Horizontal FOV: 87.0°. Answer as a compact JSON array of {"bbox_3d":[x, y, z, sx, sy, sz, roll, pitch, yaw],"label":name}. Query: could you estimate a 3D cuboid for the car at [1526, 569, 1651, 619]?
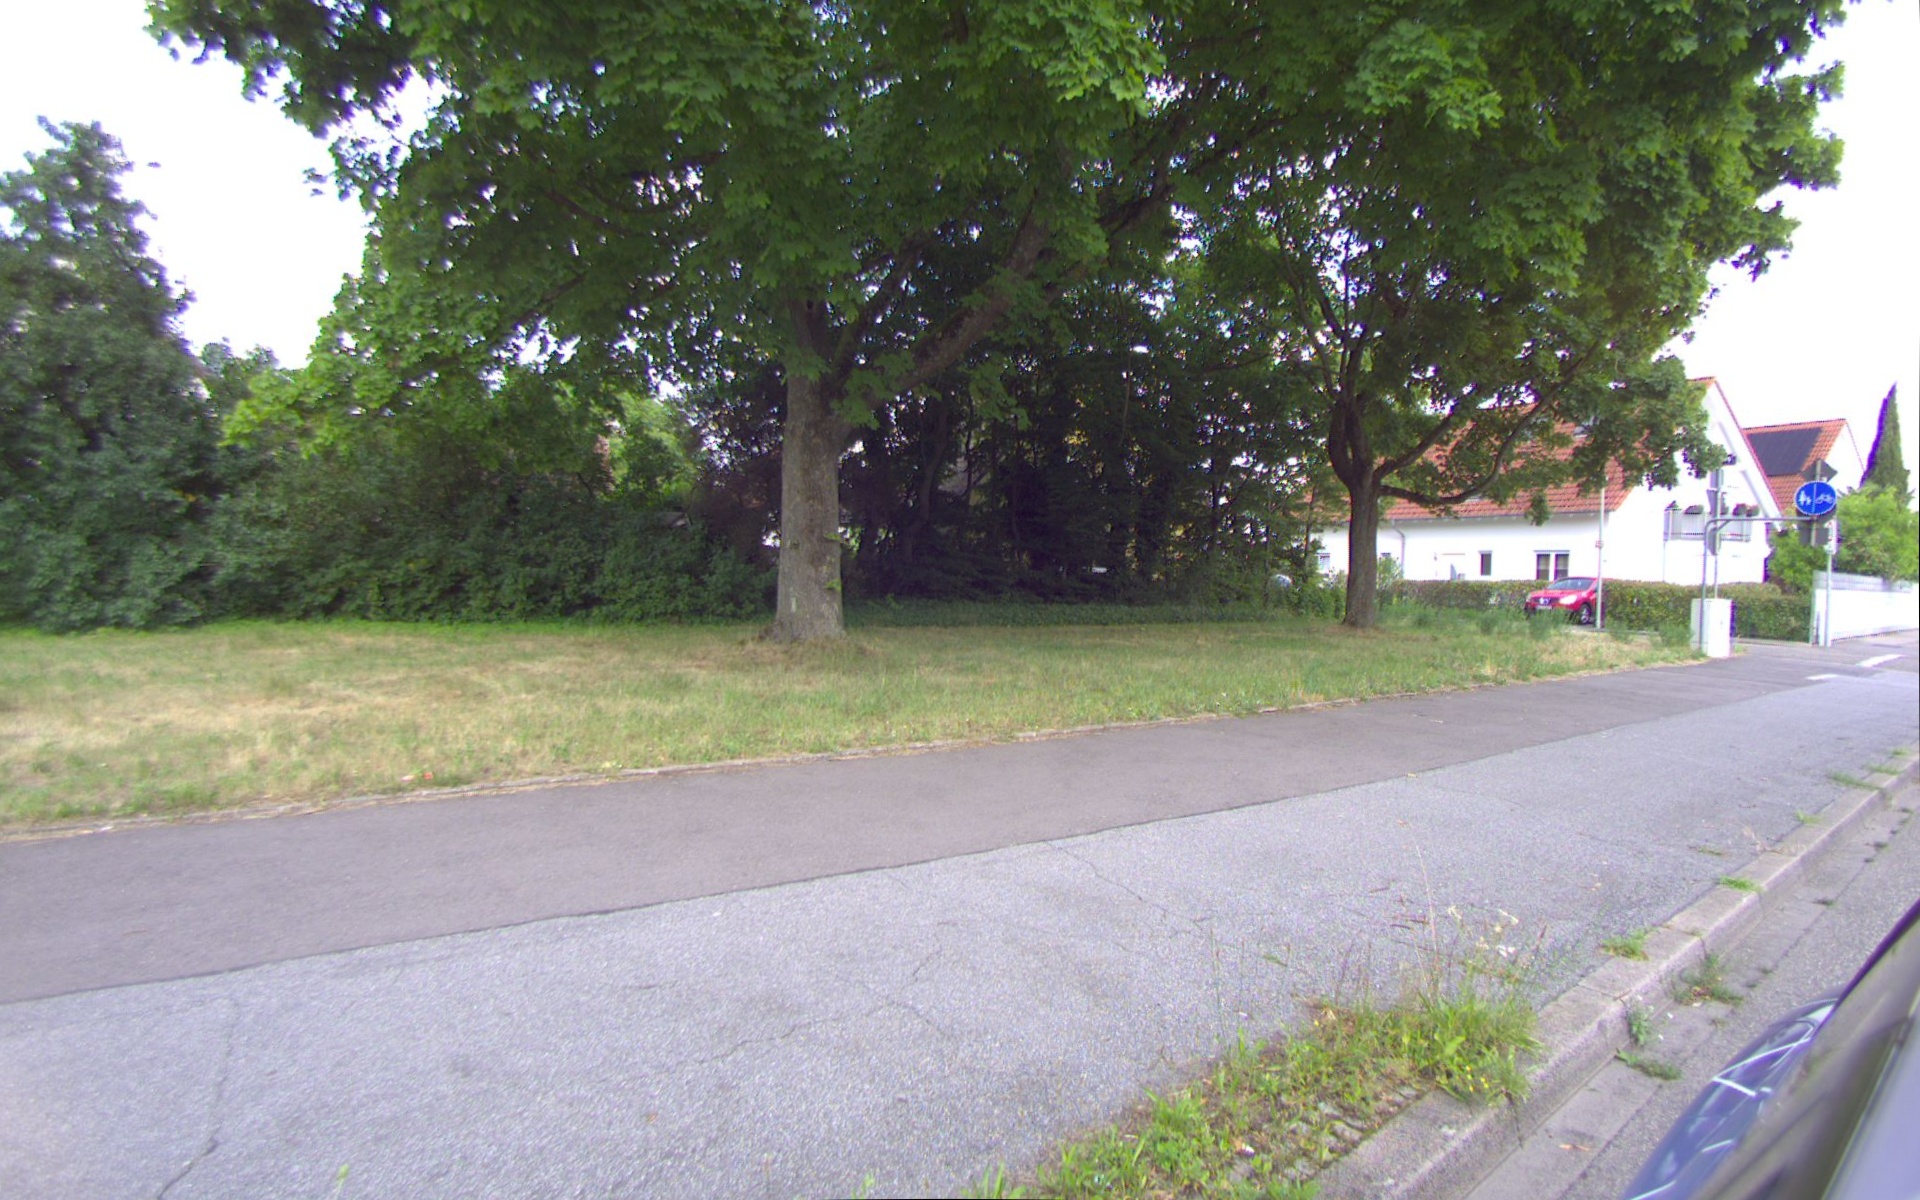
[{"bbox_3d":[20.980,-0.176,33.741,4.305,1.549,1.684,1,2,-30],"label":"car"}]
